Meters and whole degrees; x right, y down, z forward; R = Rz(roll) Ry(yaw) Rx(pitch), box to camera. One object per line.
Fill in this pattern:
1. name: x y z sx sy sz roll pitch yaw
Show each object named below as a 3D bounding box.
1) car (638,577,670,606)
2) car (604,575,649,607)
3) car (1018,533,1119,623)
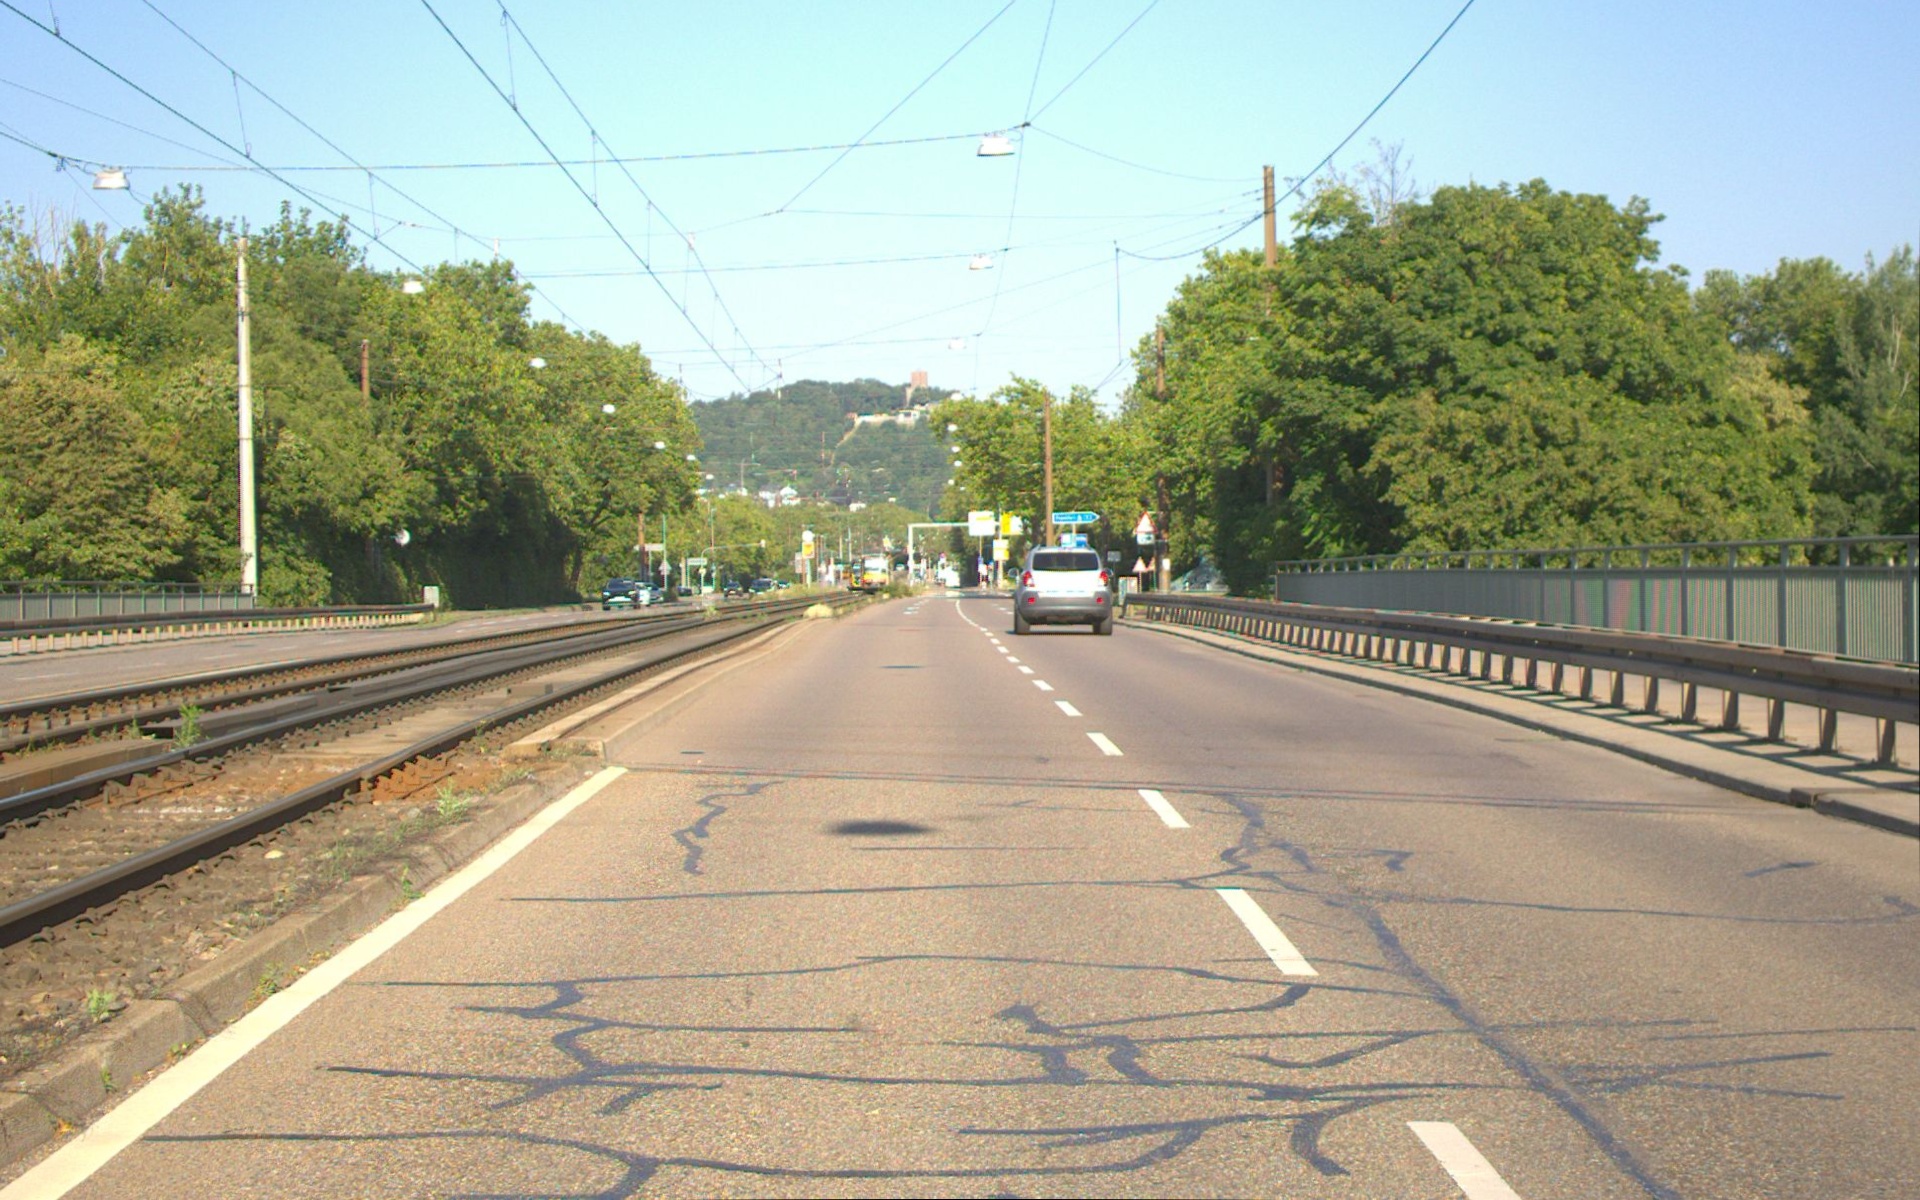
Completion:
1. car: -22.365 -0.637 251.117 1.987 2.050 3.946 1 1 -1
2. car: -17.235 -0.483 177.817 1.993 1.612 4.000 1 1 -1
3. car: 2.118 -0.442 67.003 1.888 1.688 4.256 0 1 2
